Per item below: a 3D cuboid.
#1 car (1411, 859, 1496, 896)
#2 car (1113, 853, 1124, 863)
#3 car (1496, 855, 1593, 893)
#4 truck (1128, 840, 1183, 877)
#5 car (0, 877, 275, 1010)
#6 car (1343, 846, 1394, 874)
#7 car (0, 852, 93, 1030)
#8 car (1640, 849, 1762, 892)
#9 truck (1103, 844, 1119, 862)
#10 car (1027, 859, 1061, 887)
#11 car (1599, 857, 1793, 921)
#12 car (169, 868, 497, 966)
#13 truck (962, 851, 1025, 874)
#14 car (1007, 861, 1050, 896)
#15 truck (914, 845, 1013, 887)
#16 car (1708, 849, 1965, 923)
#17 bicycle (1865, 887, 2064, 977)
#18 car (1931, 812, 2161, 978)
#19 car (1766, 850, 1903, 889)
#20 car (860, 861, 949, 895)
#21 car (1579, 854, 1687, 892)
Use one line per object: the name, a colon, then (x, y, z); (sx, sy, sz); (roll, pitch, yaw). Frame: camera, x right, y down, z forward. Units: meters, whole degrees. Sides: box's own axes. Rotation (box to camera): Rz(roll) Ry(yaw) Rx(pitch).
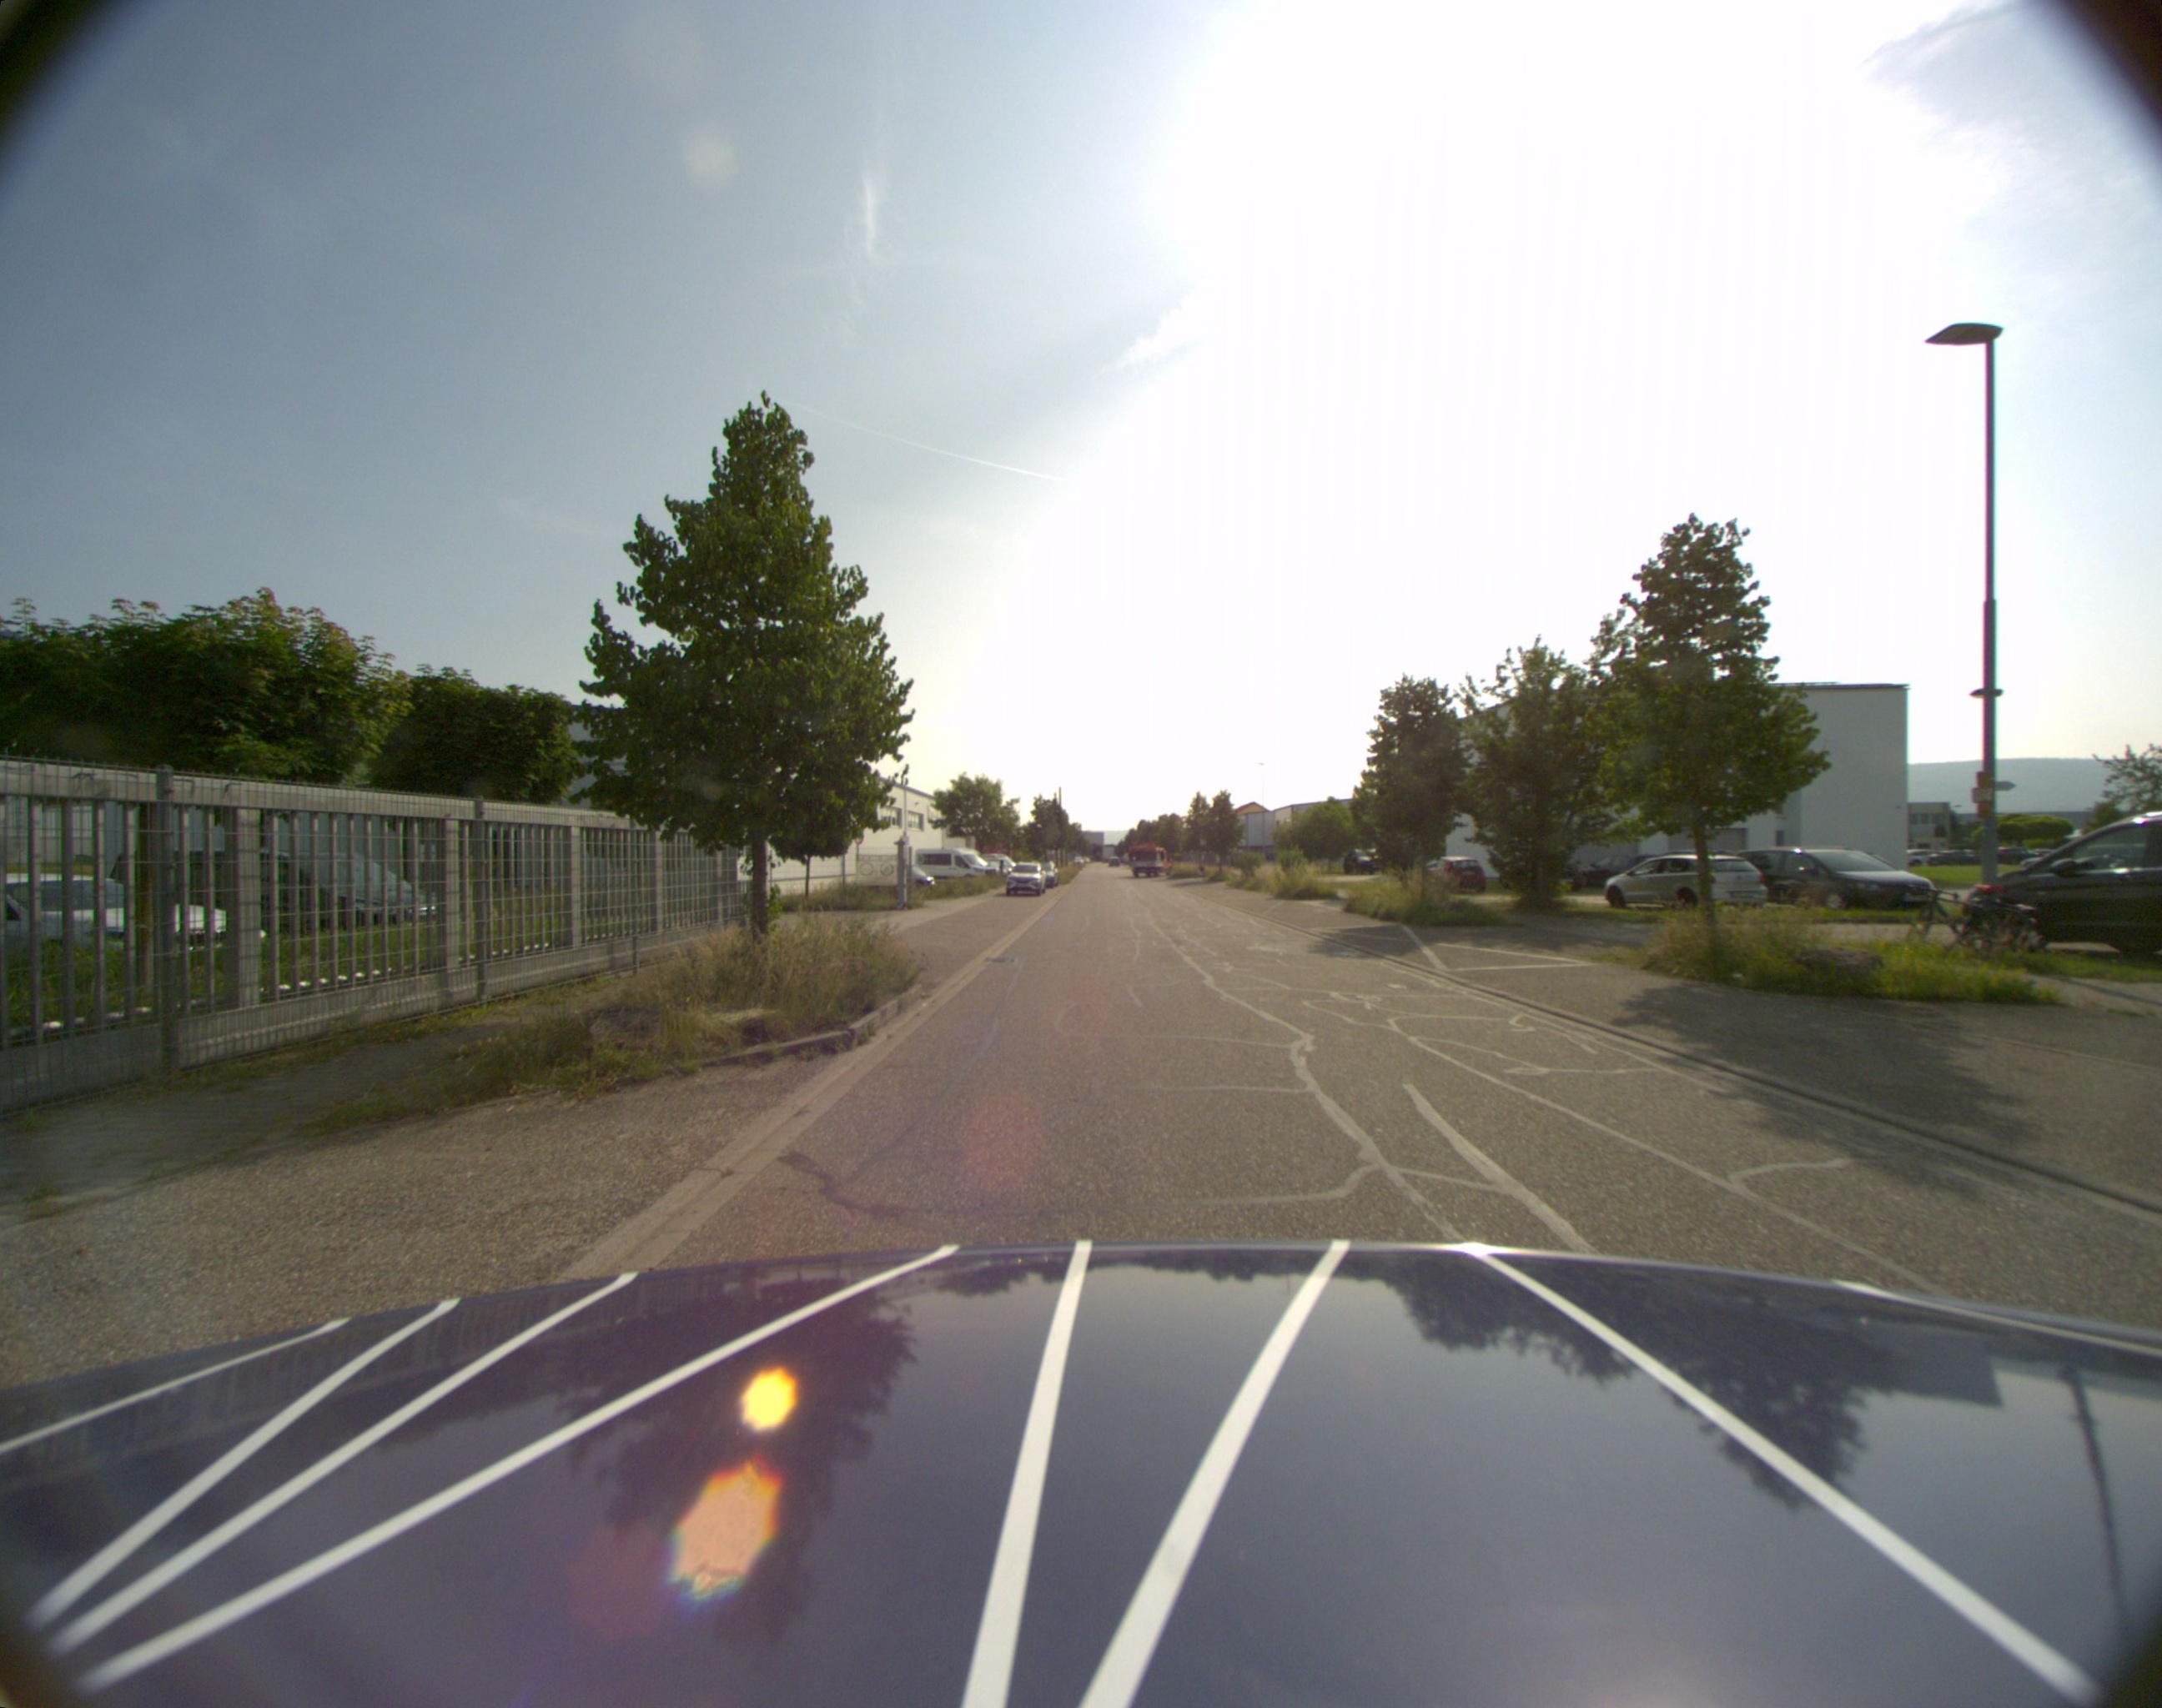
car: (15.452, 0.919, 31.710); (1.758, 1.401, 3.919); (-1, 0, 3)
car: (6.104, 0.683, 125.128); (1.668, 1.495, 3.540); (-1, 1, 1)
car: (19.117, 0.777, 31.559); (1.758, 1.459, 3.919); (-1, 0, 3)
truck: (6.443, 0.370, 64.390); (2.509, 2.817, 8.857); (2, 0, 19)
car: (-13.125, 1.073, 9.711); (4.015, 1.453, 1.754); (-1, 0, 6)
car: (19.955, 0.415, 52.951); (1.998, 1.827, 4.696); (-1, 0, 3)
car: (-12.653, 0.865, 6.907); (4.497, 1.712, 1.999); (-1, 0, -3)
car: (25.252, 0.632, 31.129); (1.910, 1.609, 3.919); (-1, 0, 3)
truck: (6.854, -0.234, 176.086); (3.412, 4.017, 10.395); (-2, 0, 1)
car: (-2.082, 1.076, 43.852); (1.694, 1.495, 3.541); (1, 0, 1)
car: (15.484, 0.814, 19.451); (1.790, 1.441, 3.918); (-1, 0, 0)
car: (-12.261, 1.004, 12.591); (4.015, 1.453, 1.653); (-1, 0, 6)
truck: (-8.012, 0.730, 69.388); (5.815, 2.010, 2.280); (-1, 0, 39)
car: (-2.434, 1.113, 35.757); (1.668, 1.495, 3.541); (1, 0, 1)
truck: (-7.450, 0.701, 47.783); (6.194, 2.516, 2.280); (0, 1, 34)
car: (18.379, 0.707, 18.868); (1.947, 1.597, 4.509); (-1, 0, 1)
bicycle: (11.369, 0.966, 9.879); (0.541, 0.973, 1.871); (-1, 0, 5)
car: (13.983, 0.500, 9.190); (1.886, 2.002, 4.991); (0, 0, 1)
car: (30.181, 0.597, 30.617); (1.758, 1.459, 3.919); (-1, 0, 3)
car: (-8.236, 1.070, 35.410); (3.988, 1.489, 1.902); (-1, 0, 37)
car: (22.630, 0.741, 31.351); (1.758, 1.459, 3.919); (-1, 0, 3)
